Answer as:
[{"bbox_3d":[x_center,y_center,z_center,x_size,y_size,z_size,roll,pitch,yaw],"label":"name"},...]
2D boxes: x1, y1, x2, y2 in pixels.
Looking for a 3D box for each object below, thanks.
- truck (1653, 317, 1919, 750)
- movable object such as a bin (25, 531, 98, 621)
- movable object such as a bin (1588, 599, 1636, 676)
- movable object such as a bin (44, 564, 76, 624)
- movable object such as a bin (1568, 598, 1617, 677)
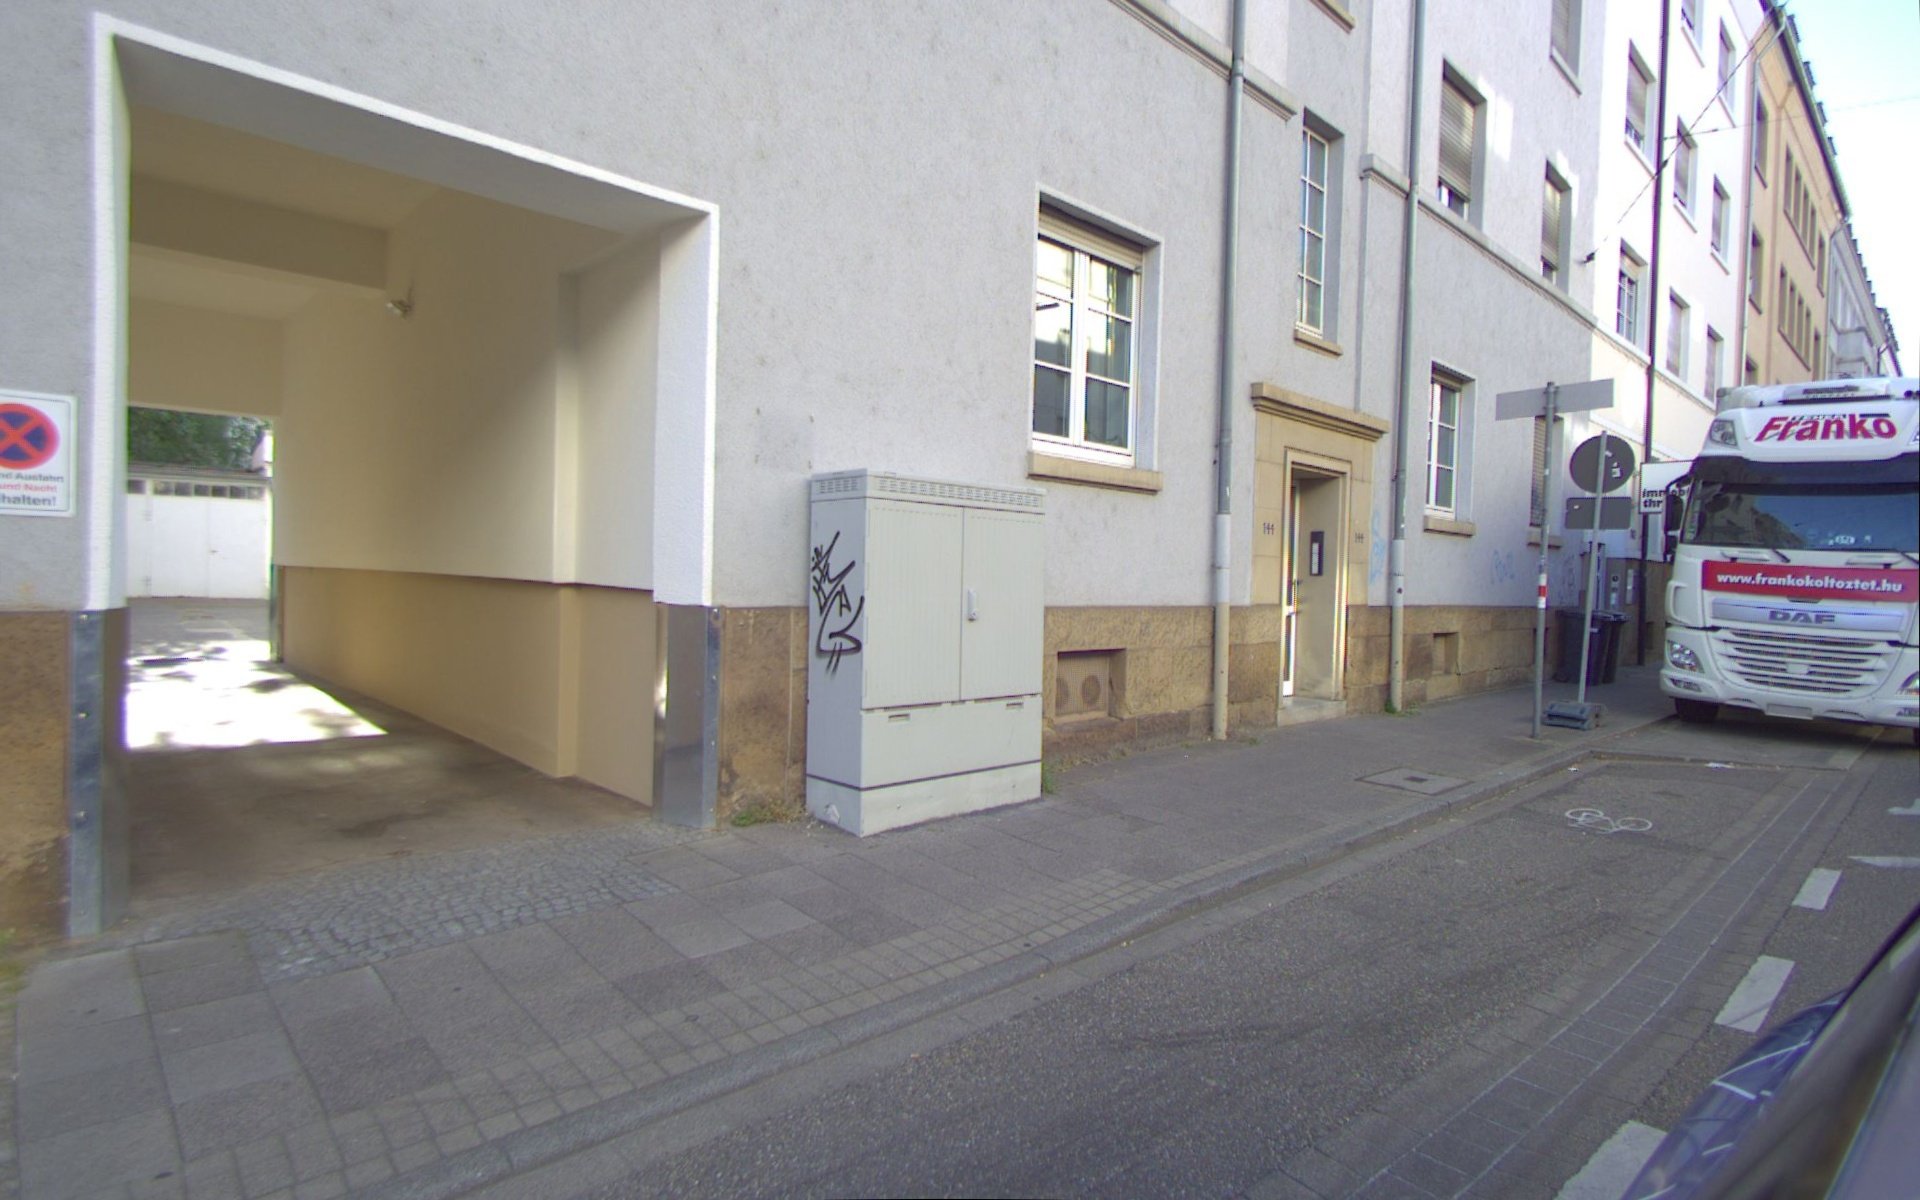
[{"bbox_3d":[12.609,-0.608,13.829,11.511,4.012,2.894,0,0,-44],"label":"truck"},{"bbox_3d":[-14.692,-0.398,16.552,0.874,1.409,0.758,0,4,-44],"label":"movable object such as a bin"},{"bbox_3d":[9.622,0.535,14.936,0.511,1.106,0.488,0,0,45],"label":"movable object such as a bin"},{"bbox_3d":[-14.301,-0.103,16.085,0.366,0.919,0.420,0,3,-44],"label":"movable object such as a bin"},{"bbox_3d":[9.120,0.534,14.590,0.511,1.106,0.488,0,0,45],"label":"movable object such as a bin"}]
